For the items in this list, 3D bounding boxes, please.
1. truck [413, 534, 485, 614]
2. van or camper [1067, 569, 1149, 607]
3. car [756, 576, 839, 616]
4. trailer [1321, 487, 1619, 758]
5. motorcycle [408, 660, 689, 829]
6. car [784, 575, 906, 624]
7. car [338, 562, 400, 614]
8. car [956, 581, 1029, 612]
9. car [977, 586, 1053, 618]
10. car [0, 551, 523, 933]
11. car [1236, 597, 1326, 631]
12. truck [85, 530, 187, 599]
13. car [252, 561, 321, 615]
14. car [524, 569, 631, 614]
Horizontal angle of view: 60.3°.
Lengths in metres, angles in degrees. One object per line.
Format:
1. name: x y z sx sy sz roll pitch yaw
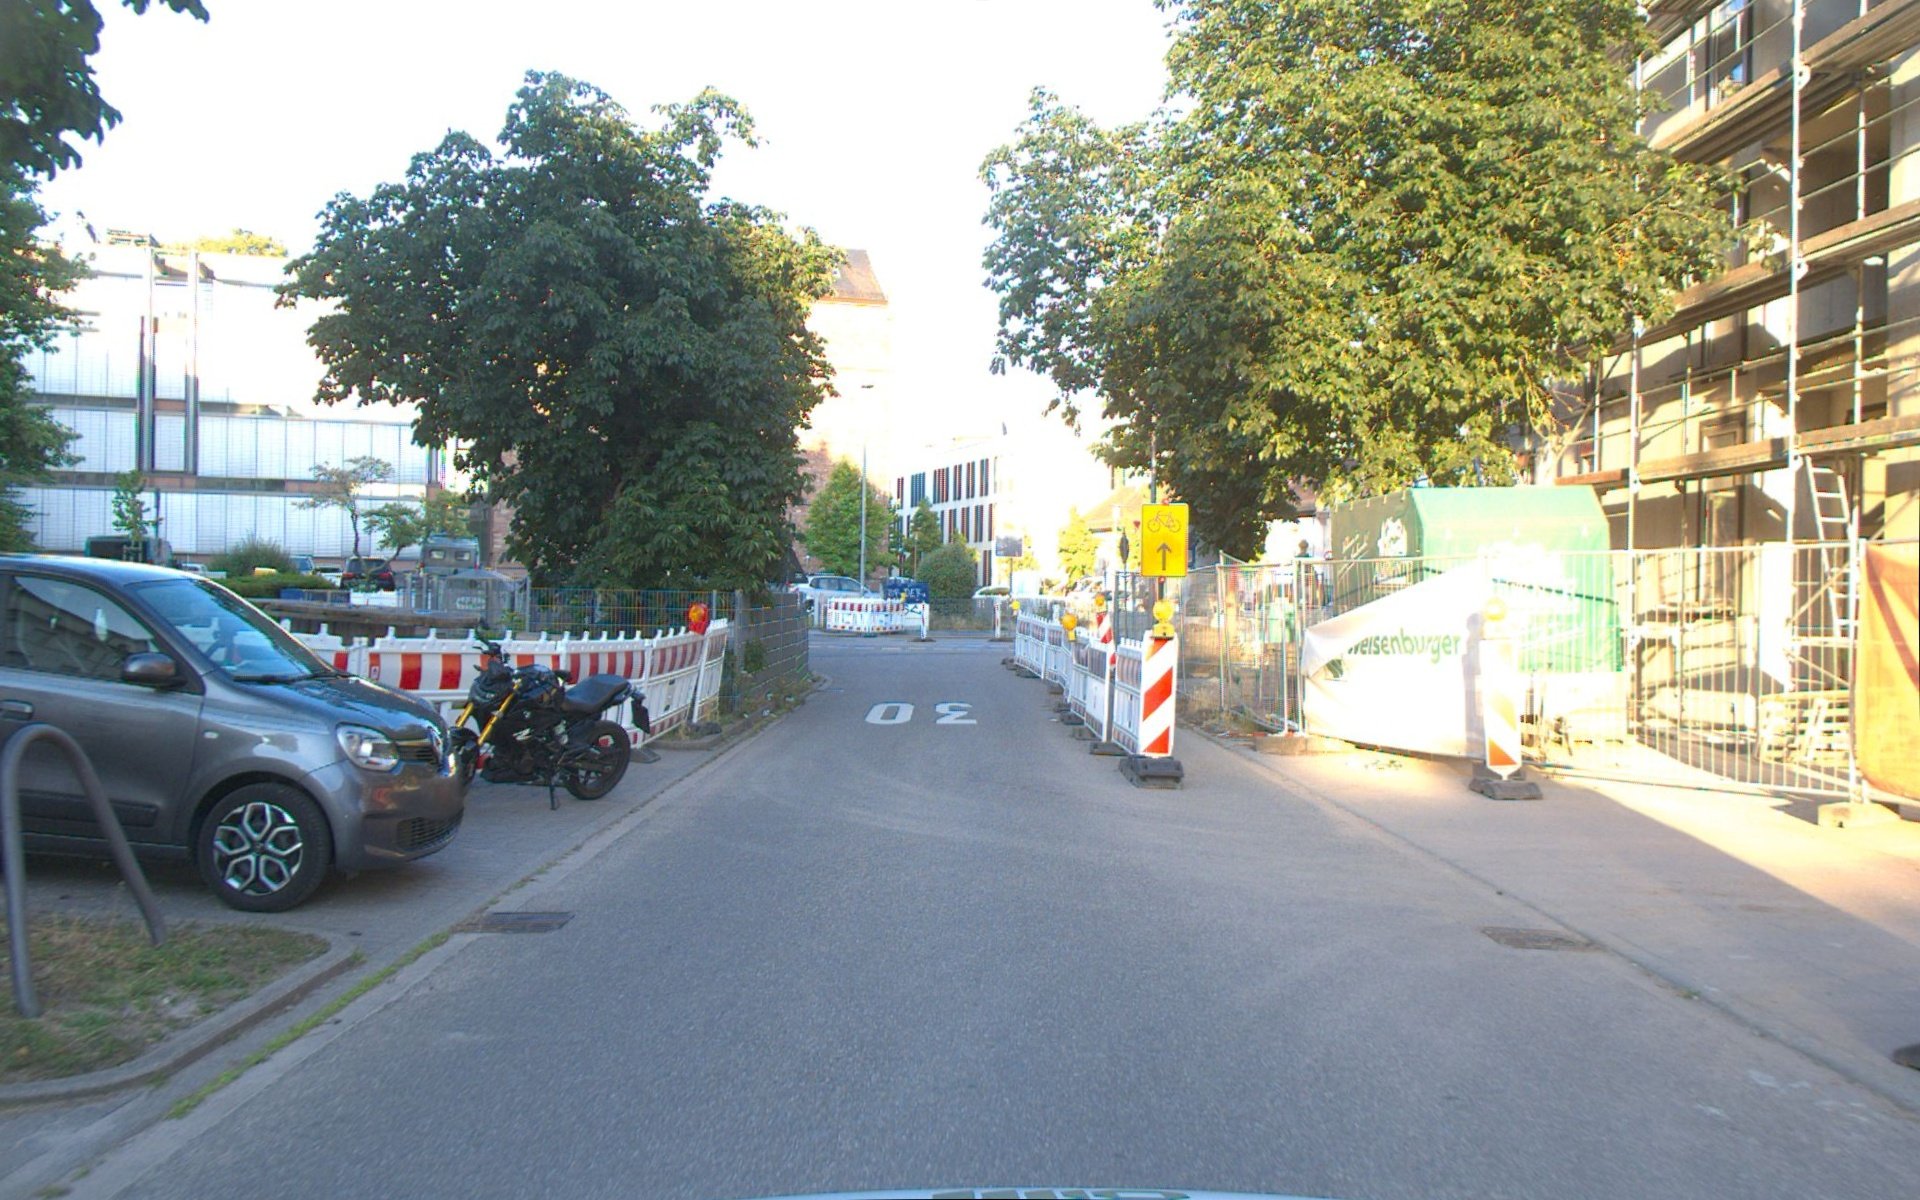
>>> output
1. truck: -18.003 -0.915 58.386 2.297 2.662 4.949 1 1 -17
2. van or camper: 9.323 -0.747 104.040 4.892 2.279 1.676 1 0 -22
3. car: -7.280 -0.197 74.018 3.423 1.738 1.659 0 0 -20
4. trailer: 5.384 0.197 18.067 1.952 2.584 4.186 1 0 0
5. motorcycle: -2.839 0.965 11.704 0.527 1.038 2.208 4 0 28
6. car: -4.245 -0.023 61.149 4.205 1.738 1.693 0 0 -20
7. car: -20.554 -0.439 57.550 1.964 1.722 3.977 1 1 -20
8. car: 1.814 -0.191 91.476 3.688 1.631 1.676 1 0 -22
9. car: 2.941 0.110 88.431 3.688 1.631 1.676 1 0 -22
10. car: -4.254 0.600 8.353 3.550 1.584 1.693 4 0 -1
11. car: 15.876 0.679 81.802 3.931 1.600 1.987 1 0 -22
12. truck: -26.941 -1.122 54.223 2.070 2.127 4.495 1 0 -15
13. car: -22.919 -0.410 56.432 1.964 1.757 4.276 1 1 -20
14. car: -13.499 -0.312 58.289 3.573 1.530 1.630 0 0 -17
